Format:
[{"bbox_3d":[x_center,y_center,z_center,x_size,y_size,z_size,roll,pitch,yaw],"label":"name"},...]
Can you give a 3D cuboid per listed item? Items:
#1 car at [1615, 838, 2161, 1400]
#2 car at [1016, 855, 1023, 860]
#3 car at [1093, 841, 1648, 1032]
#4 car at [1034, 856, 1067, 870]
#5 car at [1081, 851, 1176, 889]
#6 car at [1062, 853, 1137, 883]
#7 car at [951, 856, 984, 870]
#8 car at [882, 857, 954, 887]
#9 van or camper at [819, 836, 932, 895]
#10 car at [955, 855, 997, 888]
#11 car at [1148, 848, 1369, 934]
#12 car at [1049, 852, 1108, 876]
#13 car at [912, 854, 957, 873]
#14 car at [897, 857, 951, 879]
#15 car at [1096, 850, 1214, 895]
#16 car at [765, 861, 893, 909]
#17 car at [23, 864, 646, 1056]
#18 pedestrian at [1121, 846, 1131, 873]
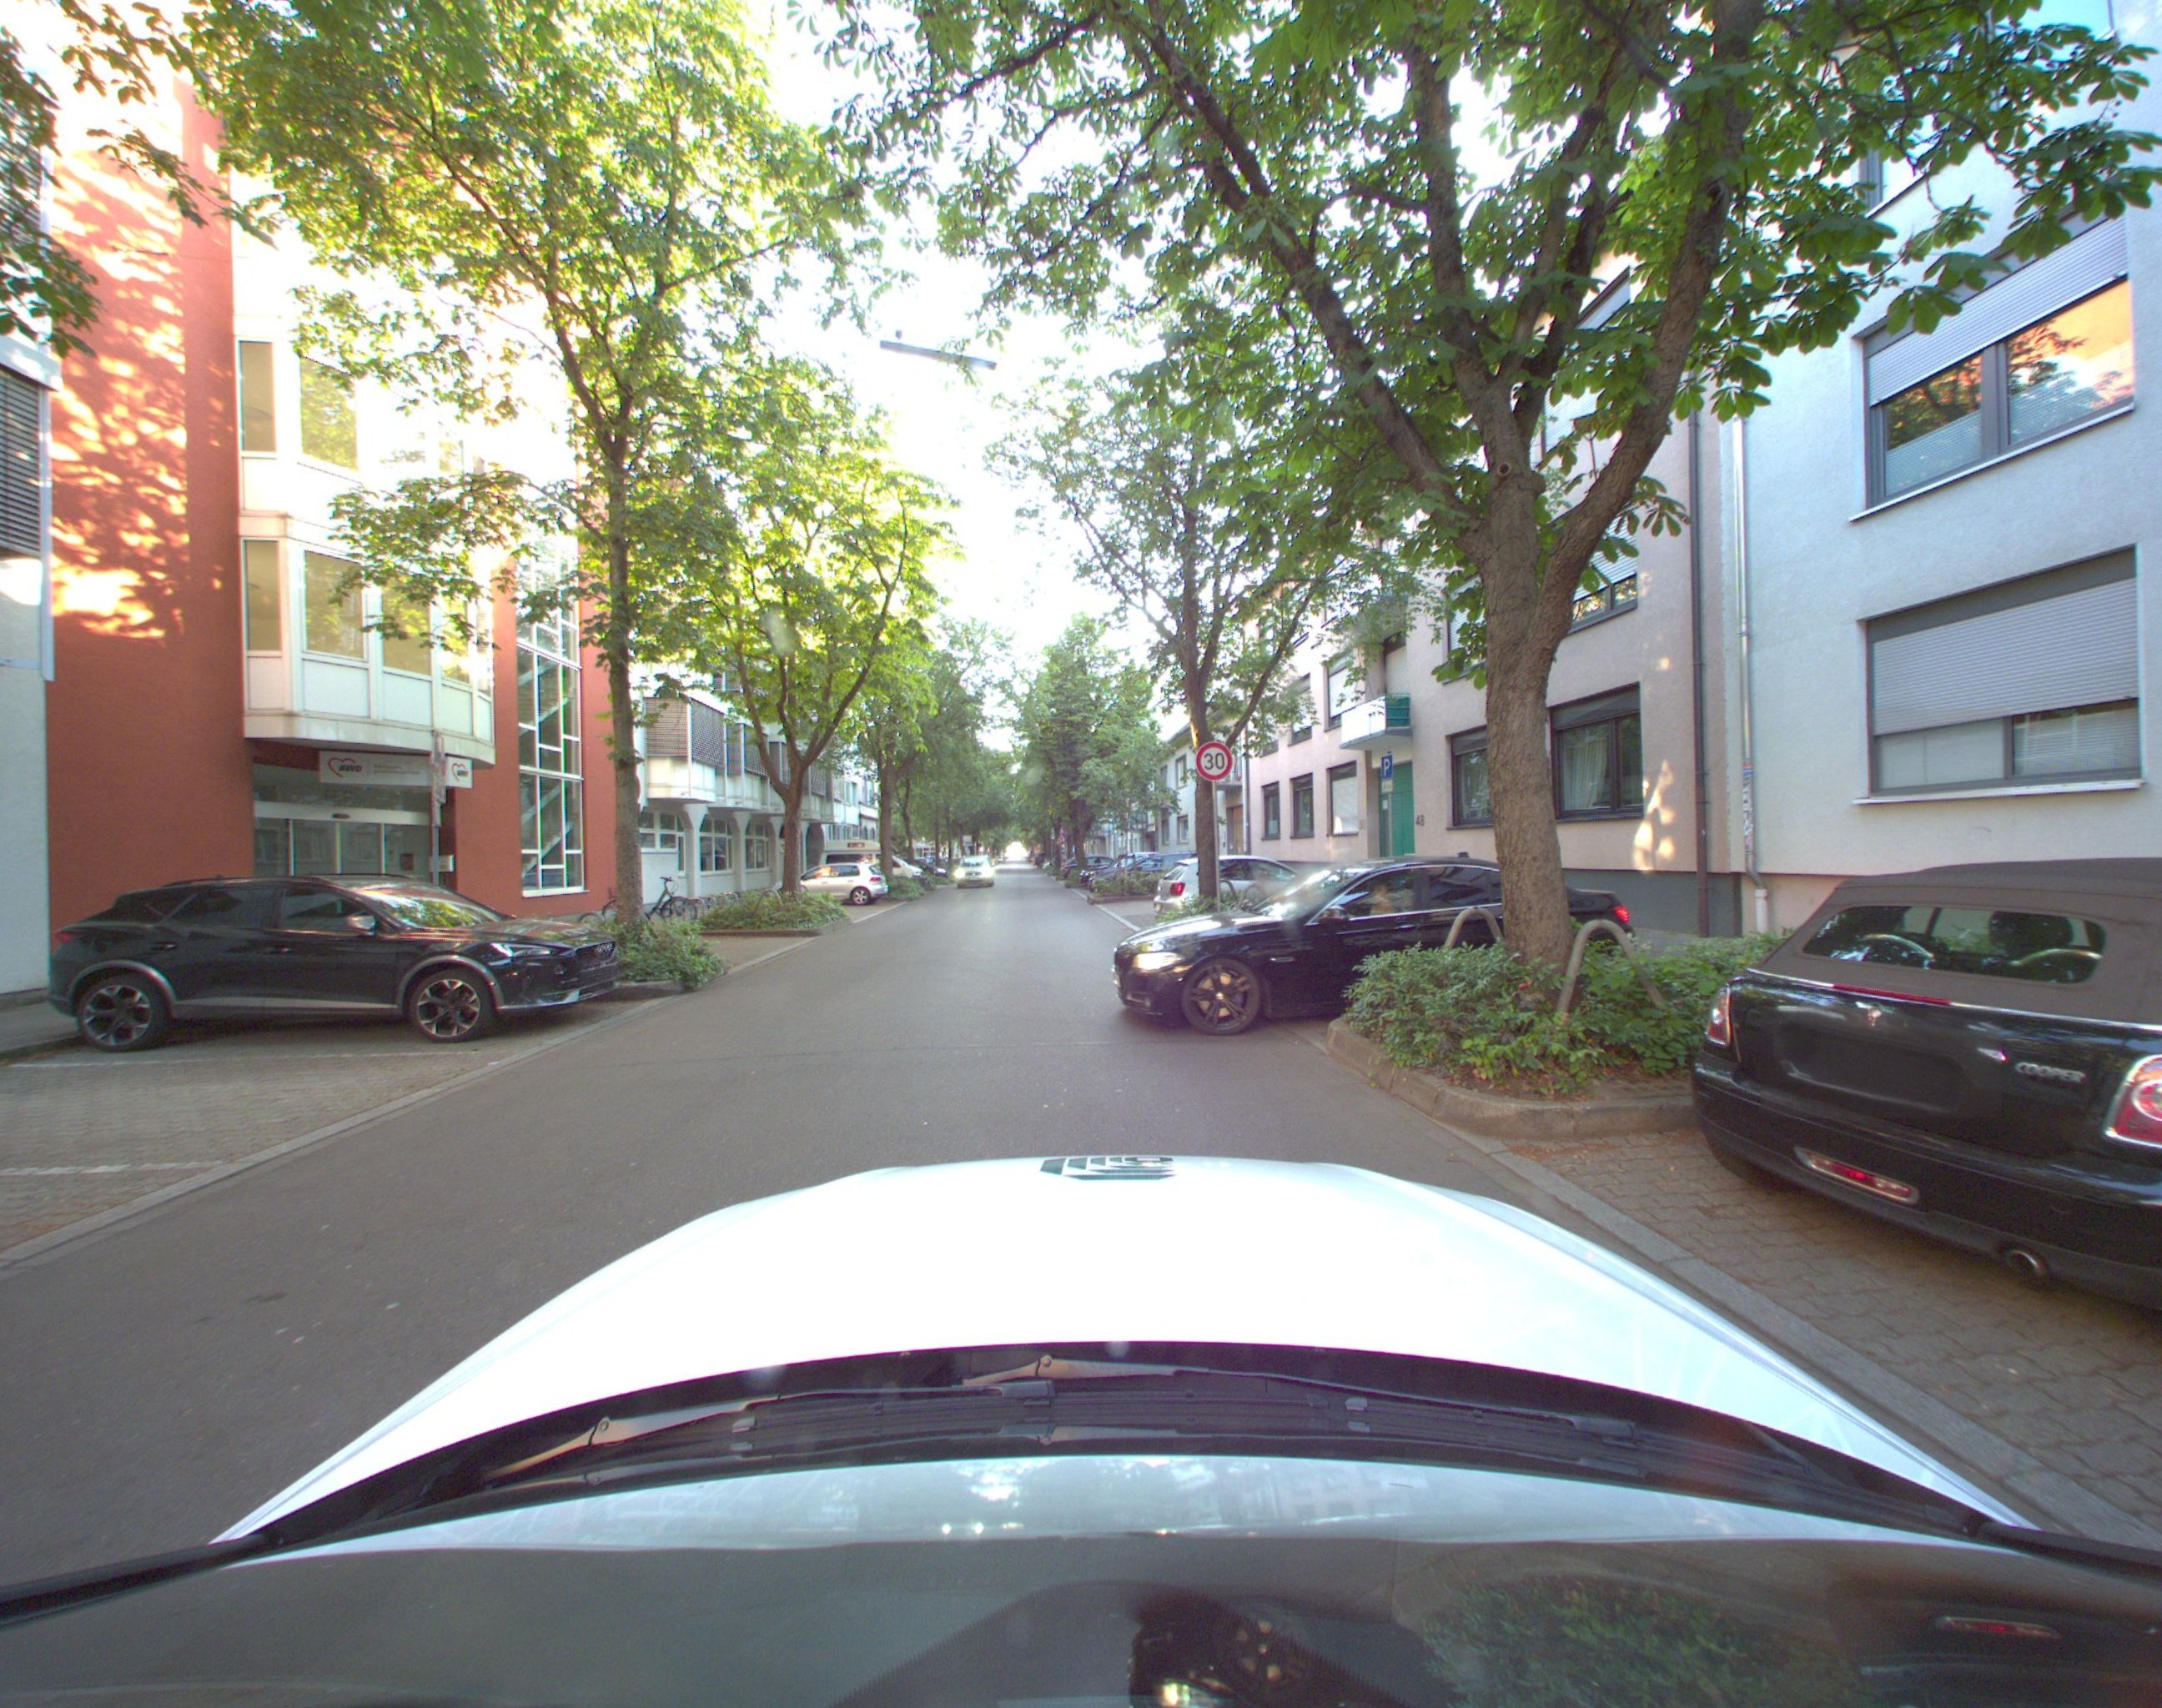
[{"bbox_3d":[4.326,0.634,3.130,3.608,1.363,1.660,-2,0,-8],"label":"car"},{"bbox_3d":[-16.793,0.951,220.922,1.819,1.531,3.995,-1,0,-4],"label":"car"},{"bbox_3d":[2.569,0.688,7.892,4.737,1.480,1.797,-1,0,-5],"label":"car"},{"bbox_3d":[-3.763,1.110,100.912,3.959,1.684,1.783,-2,0,-4],"label":"car"},{"bbox_3d":[2.050,0.686,36.102,3.962,1.527,1.782,-2,0,-5],"label":"car"},{"bbox_3d":[0.990,0.767,44.944,3.962,1.527,1.782,-2,0,-5],"label":"car"},{"bbox_3d":[-14.240,1.094,102.479,3.959,1.619,1.783,-2,0,-4],"label":"car"},{"bbox_3d":[-9.622,1.064,48.279,3.960,1.619,1.783,-2,0,-4],"label":"car"},{"bbox_3d":[-9.319,0.498,37.276,4.656,2.478,1.997,-1,0,-5],"label":"van or camper"},{"bbox_3d":[-5.326,0.856,41.730,1.775,1.562,4.162,-1,0,-4],"label":"car"},{"bbox_3d":[3.405,0.684,15.978,3.904,1.476,1.661,-2,0,-7],"label":"car"},{"bbox_3d":[-0.204,0.689,56.847,3.963,1.527,1.781,-2,0,-6],"label":"car"},{"bbox_3d":[-13.714,0.902,76.474,3.959,1.619,1.783,-2,0,-4],"label":"car"},{"bbox_3d":[-12.429,1.097,64.825,3.959,1.619,1.783,-2,0,-4],"label":"car"},{"bbox_3d":[2.643,0.648,29.605,3.963,1.476,1.781,-2,0,-7],"label":"car"},{"bbox_3d":[-8.872,1.062,28.943,3.960,1.517,1.783,-2,0,-4],"label":"car"},{"bbox_3d":[-7.044,0.929,8.132,4.347,1.517,1.782,-2,0,-5],"label":"car"},{"bbox_3d":[3.397,0.379,61.415,0.587,2.013,0.669,-1,0,-3],"label":"pedestrian"}]
